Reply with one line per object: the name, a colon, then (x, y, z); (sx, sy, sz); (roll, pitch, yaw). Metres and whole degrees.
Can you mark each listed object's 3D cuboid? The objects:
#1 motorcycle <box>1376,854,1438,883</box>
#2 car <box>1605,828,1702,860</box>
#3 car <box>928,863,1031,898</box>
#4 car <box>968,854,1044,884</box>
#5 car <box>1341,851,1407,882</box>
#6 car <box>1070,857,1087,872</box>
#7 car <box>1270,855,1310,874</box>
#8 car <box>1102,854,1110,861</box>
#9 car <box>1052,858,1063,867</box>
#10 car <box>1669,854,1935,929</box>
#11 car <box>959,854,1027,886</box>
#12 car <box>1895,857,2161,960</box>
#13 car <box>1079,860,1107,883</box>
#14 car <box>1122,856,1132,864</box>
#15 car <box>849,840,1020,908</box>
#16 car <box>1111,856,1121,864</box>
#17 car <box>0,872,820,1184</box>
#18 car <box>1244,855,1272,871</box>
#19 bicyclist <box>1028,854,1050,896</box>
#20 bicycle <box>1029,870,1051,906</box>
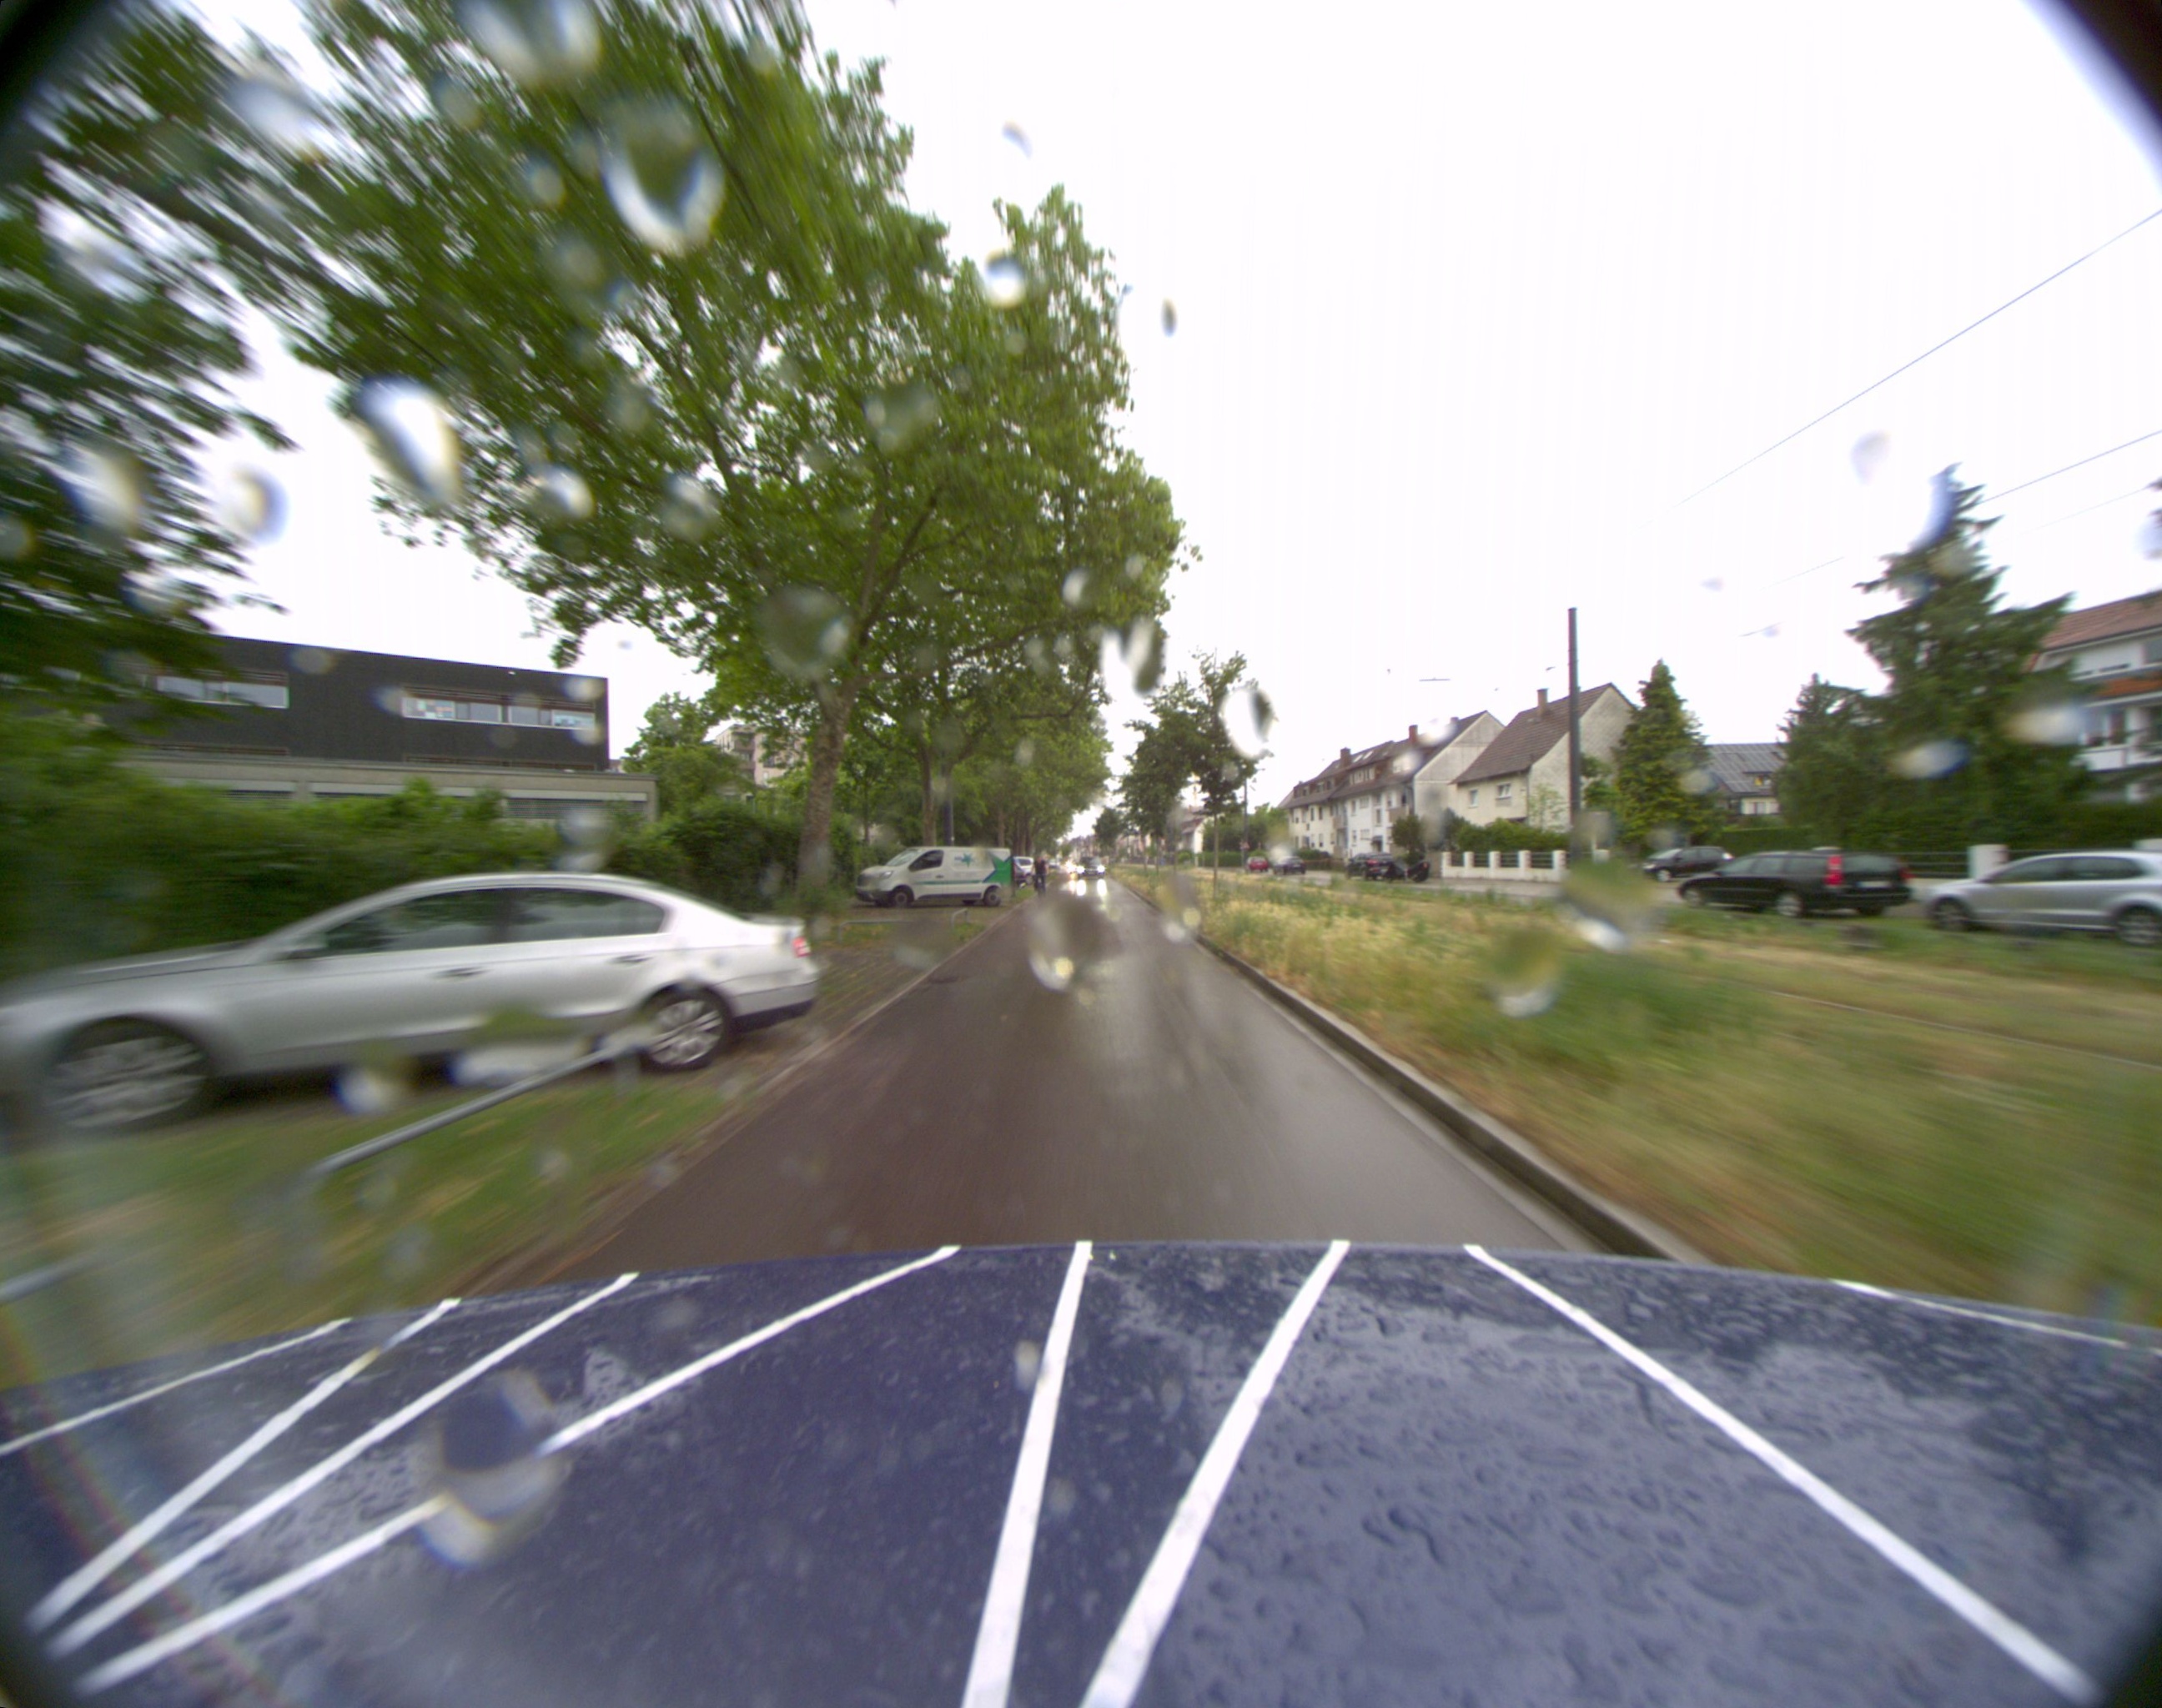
motorcycle: (16.857, 0.768, 39.325); (2.680, 1.403, 1.269); (-1, 2, 42)
car: (31.092, -0.524, 41.330); (3.968, 1.531, 1.704); (-3, 0, 0)
car: (-4.547, 1.158, 34.349); (4.314, 1.376, 1.736); (-1, 0, -39)
car: (-4.305, 0.832, 43.908); (4.056, 1.631, 1.650); (0, 1, -38)
car: (17.016, 0.679, 44.386); (1.999, 1.665, 4.386); (-2, 0, -2)
car: (-0.290, 1.098, 81.644); (1.781, 1.477, 4.000); (1, 0, -1)
car: (16.805, 0.821, 61.318); (1.998, 1.402, 4.762); (-3, 0, 2)
car: (7.726, 1.049, 234.287); (2.000, 2.002, 3.997); (-1, 0, -7)
car: (-3.701, 1.347, 120.274); (1.781, 1.477, 4.000); (1, 0, -1)
car: (16.526, 0.781, 17.846); (1.998, 1.447, 4.532); (-3, 0, 2)
car: (-4.736, 0.847, 40.880); (3.281, 1.662, 1.588); (1, 1, -34)
car: (16.647, 0.796, 12.604); (1.998, 1.402, 3.971); (-3, 0, 0)
car: (0.829, 1.208, 53.499); (1.781, 1.477, 4.000); (1, 0, -1)
car: (11.603, 1.536, 191.968); (2.000, 2.002, 3.998); (-1, 0, -6)
car: (-4.663, 0.642, 24.558); (5.039, 2.001, 1.995); (1, -1, -34)
car: (9.781, 1.690, 213.301); (2.000, 2.002, 3.997); (-1, 0, -7)
car: (-4.484, 0.956, 5.514); (4.569, 1.535, 1.883); (2, -1, -31)
car: (16.833, 0.867, 72.544); (1.802, 1.448, 4.001); (-3, 0, 2)
bicyclist: (-1.481, 0.734, 26.827); (0.675, 1.421, 0.753); (-3, 0, -2)
bicycle: (-1.445, 1.177, 27.024); (0.675, 1.136, 2.445); (-3, 0, -2)
